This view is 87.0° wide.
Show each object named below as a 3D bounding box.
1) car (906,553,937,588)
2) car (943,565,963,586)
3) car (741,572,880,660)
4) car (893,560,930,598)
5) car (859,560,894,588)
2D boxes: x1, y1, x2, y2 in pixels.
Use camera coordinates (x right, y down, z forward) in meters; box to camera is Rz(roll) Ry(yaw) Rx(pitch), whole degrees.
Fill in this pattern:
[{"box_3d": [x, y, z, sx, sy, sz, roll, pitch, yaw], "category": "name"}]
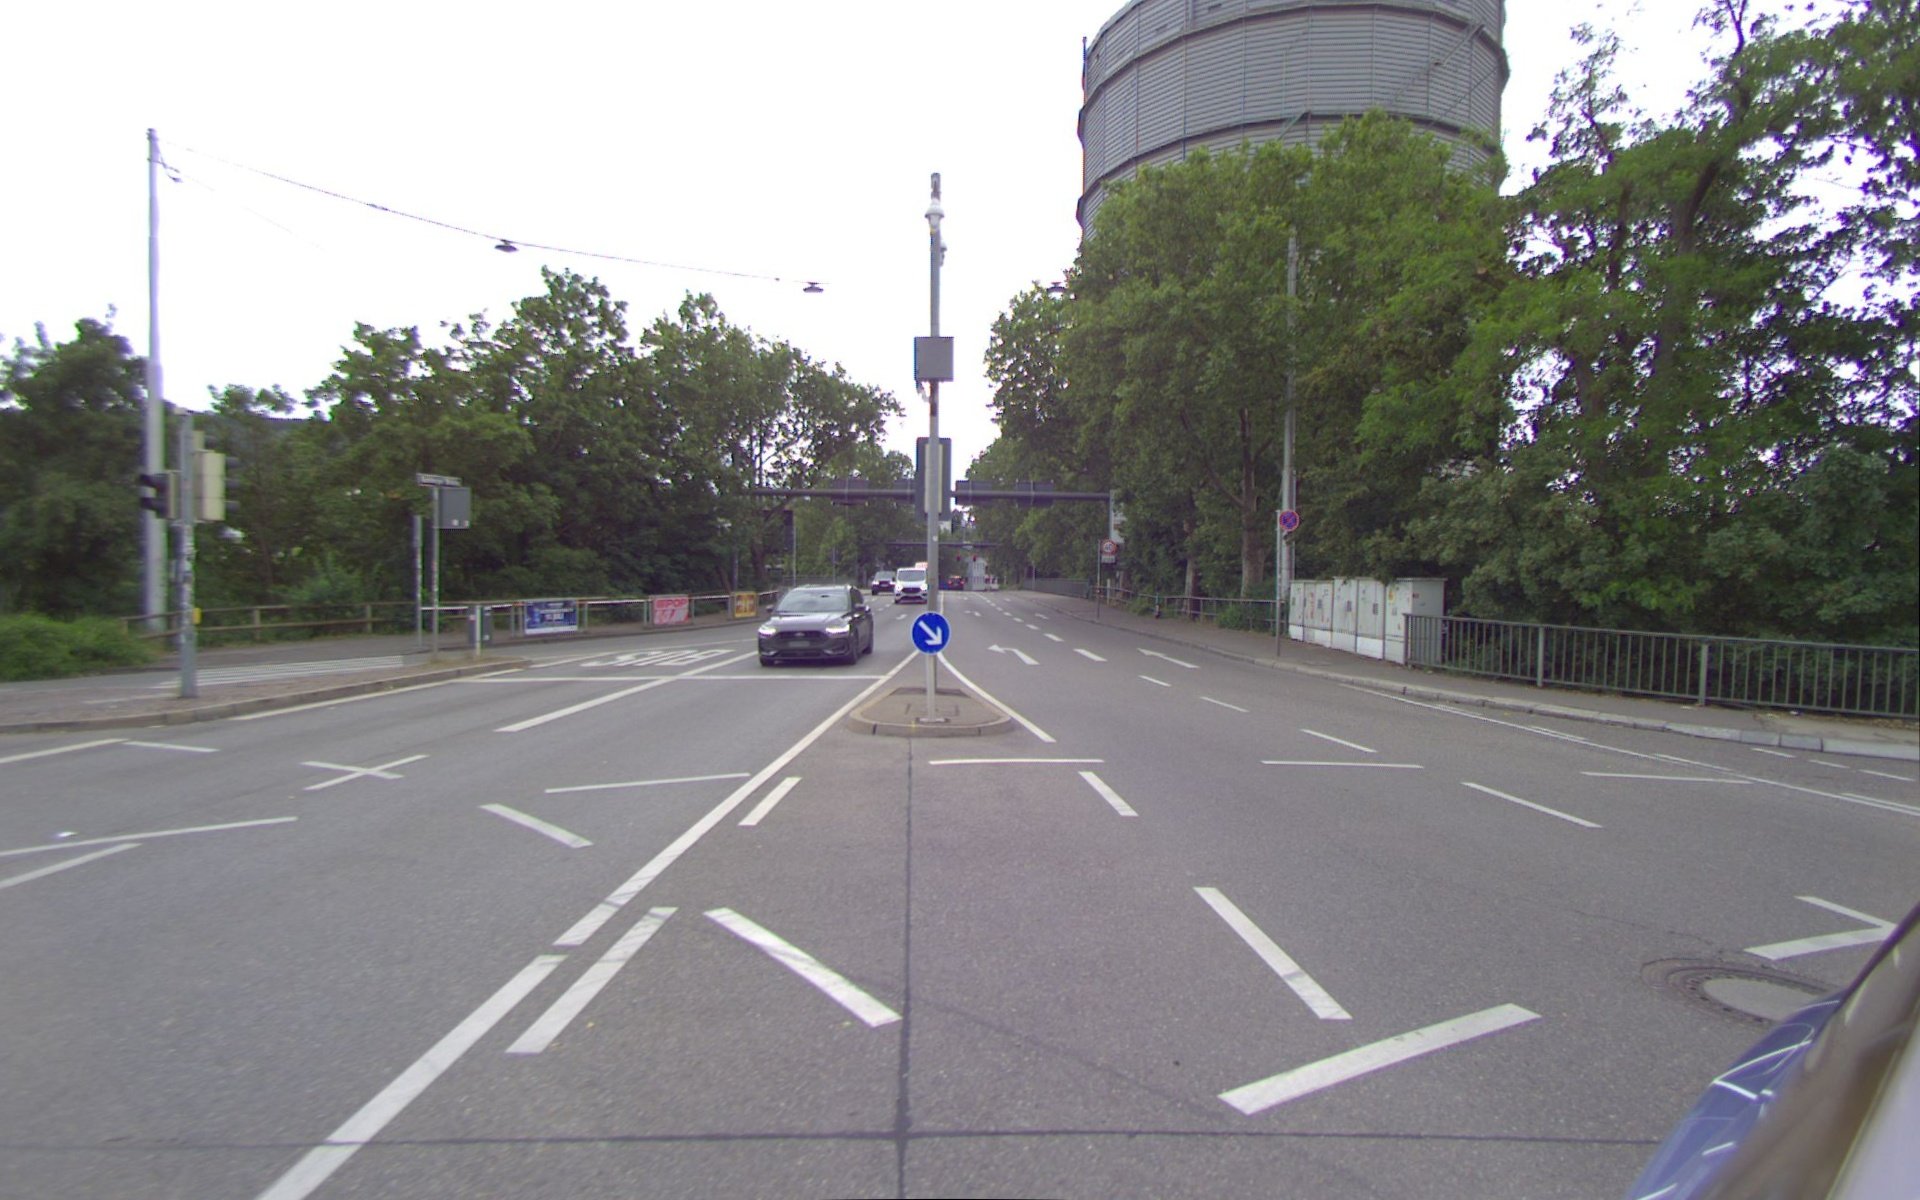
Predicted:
[{"box_3d": [-3.030, -2.352, 80.816, 2.288, 2.555, 4.950, 2, 2, -1], "category": "car"}, {"box_3d": [-0.734, -2.721, 112.639, 1.964, 2.037, 4.000, -3, 3, 3], "category": "car"}, {"box_3d": [-2.776, 0.224, 19.834, 1.899, 1.437, 4.452, 0, 3, 2], "category": "car"}, {"box_3d": [-2.723, -1.203, 57.650, 1.897, 2.024, 4.454, 1, 1, -1], "category": "car"}, {"box_3d": [-6.287, -2.015, 76.835, 2.288, 1.939, 4.953, 1, 4, -1], "category": "car"}]
